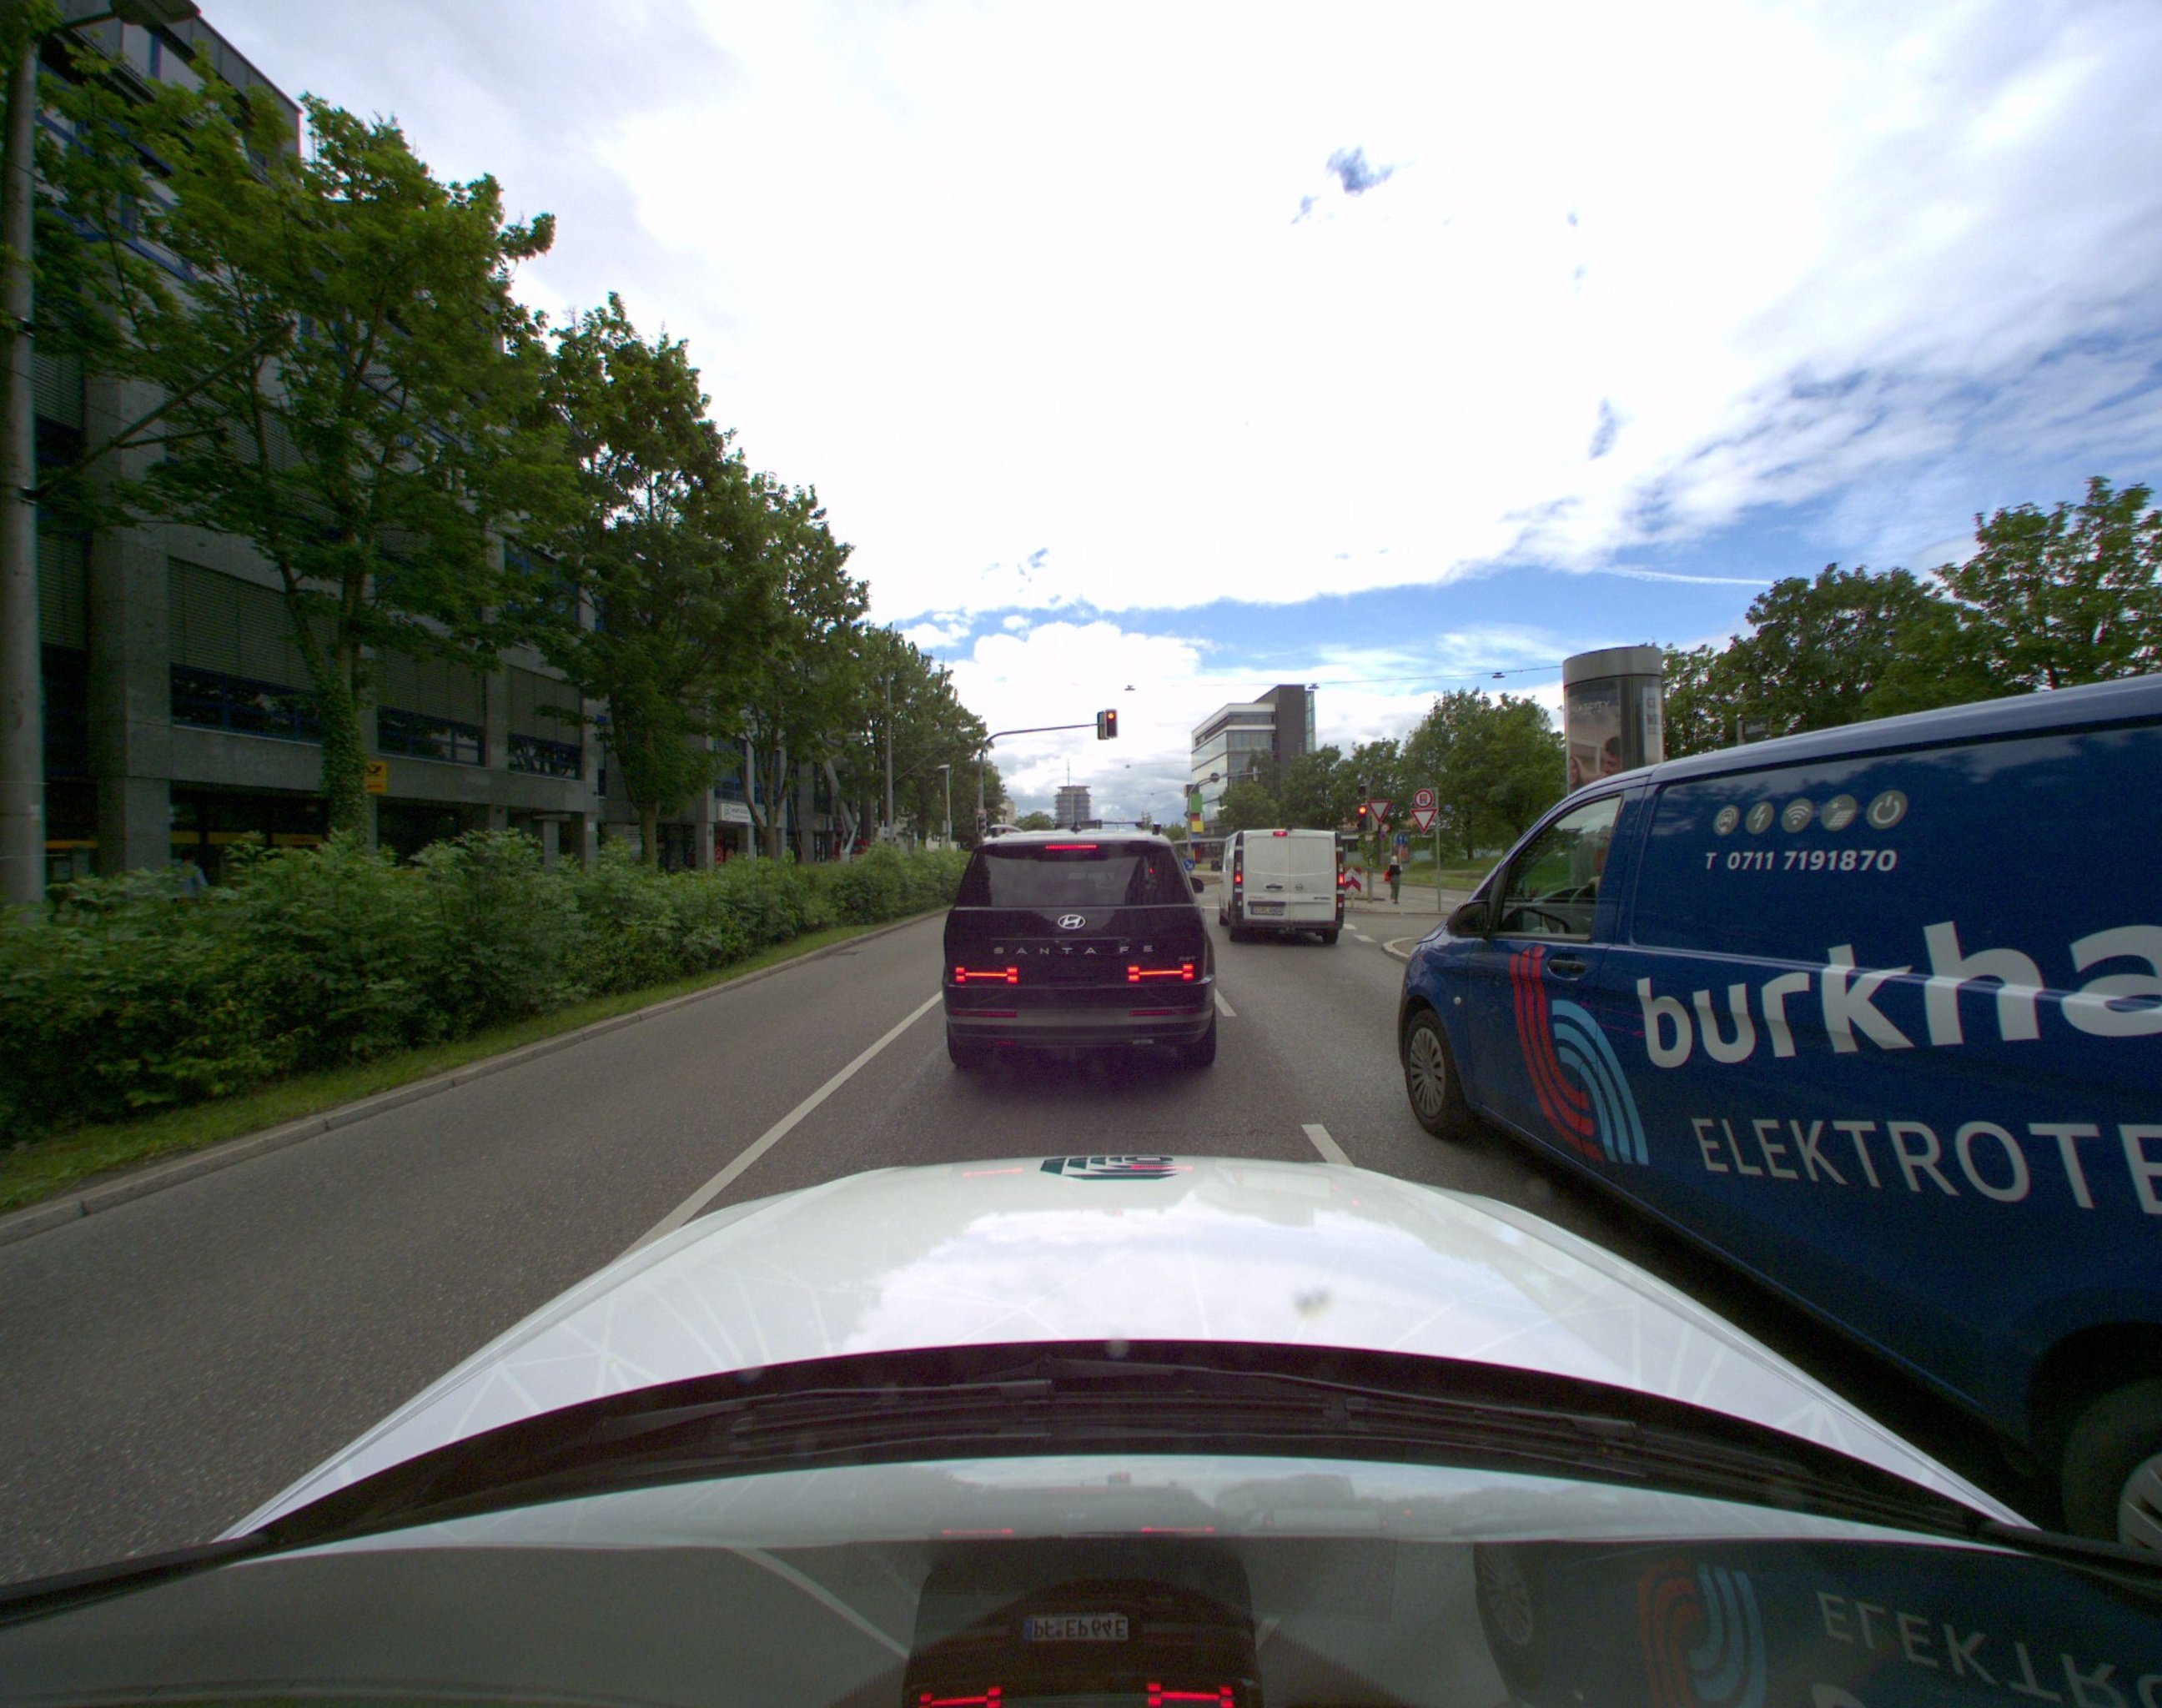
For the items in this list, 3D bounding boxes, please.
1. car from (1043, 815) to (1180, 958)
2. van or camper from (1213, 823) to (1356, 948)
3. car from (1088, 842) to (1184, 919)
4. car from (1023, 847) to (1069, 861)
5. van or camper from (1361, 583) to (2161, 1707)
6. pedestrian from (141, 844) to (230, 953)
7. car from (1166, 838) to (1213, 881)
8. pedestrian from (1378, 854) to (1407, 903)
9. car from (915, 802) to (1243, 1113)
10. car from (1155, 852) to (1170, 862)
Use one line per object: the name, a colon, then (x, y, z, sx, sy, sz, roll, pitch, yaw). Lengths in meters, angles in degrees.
car: (0.498, 0.465, 13.599, 1.908, 2.003, 3.881, -1, 0, 2)
van or camper: (3.657, 0.512, 15.468, 1.983, 2.013, 4.660, -1, 0, 6)
car: (1.501, 0.620, 20.597, 1.764, 1.717, 4.353, -1, -1, 12)
car: (-4.058, 0.022, 94.276, 5.271, 1.596, 1.997, -1, -1, -4)
van or camper: (2.688, 0.509, 2.767, 1.853, 1.911, 5.034, -1, 0, 2)
pedestrian: (-16.017, 0.780, 14.589, 0.771, 1.894, 0.731, -1, -1, 1)
car: (5.333, 0.261, 40.544, 1.985, 2.014, 4.003, -1, -1, 3)
pedestrian: (10.253, 0.790, 26.789, 0.744, 1.584, 0.567, 1, 0, -38)
car: (0.050, 0.604, 6.662, 1.862, 1.760, 3.881, -1, 0, 2)
car: (13.163, 0.493, 131.715, 1.987, 1.684, 3.998, -1, -1, -1)
